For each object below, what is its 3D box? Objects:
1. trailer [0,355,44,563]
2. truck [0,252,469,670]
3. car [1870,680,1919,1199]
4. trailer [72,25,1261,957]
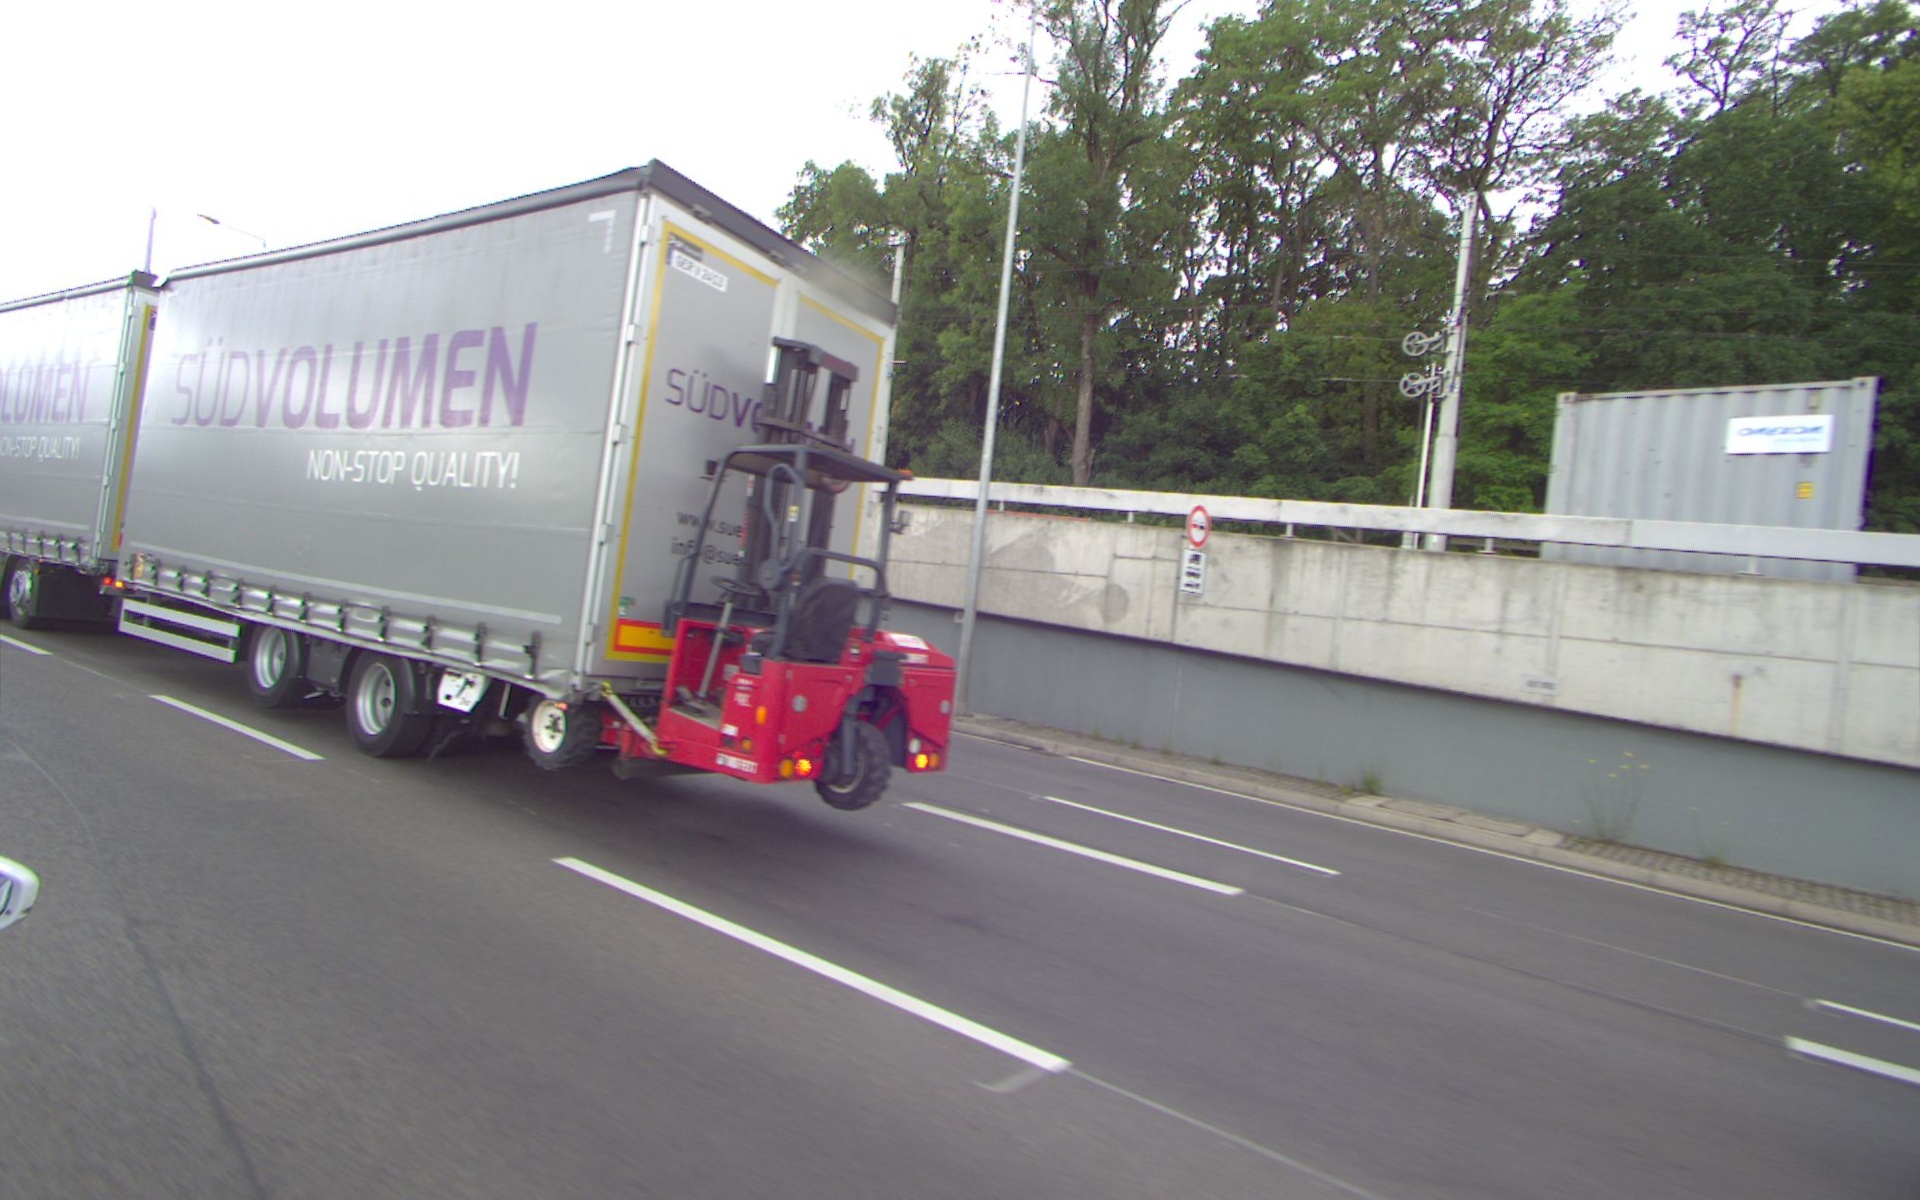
[{"bbox_3d":[-27.752,-3.953,25.024,11.913,4.684,3.813,7,-2,32],"label":"trailer"},{"bbox_3d":[-12.374,-1.839,14.976,10.806,4.189,3.730,6,-2,33],"label":"truck"},{"bbox_3d":[5.467,1.354,1.965,5.120,2.013,1.995,6,-2,37],"label":"car"},{"bbox_3d":[-3.445,-0.795,9.025,10.806,4.189,3.730,6,-2,33],"label":"trailer"}]
